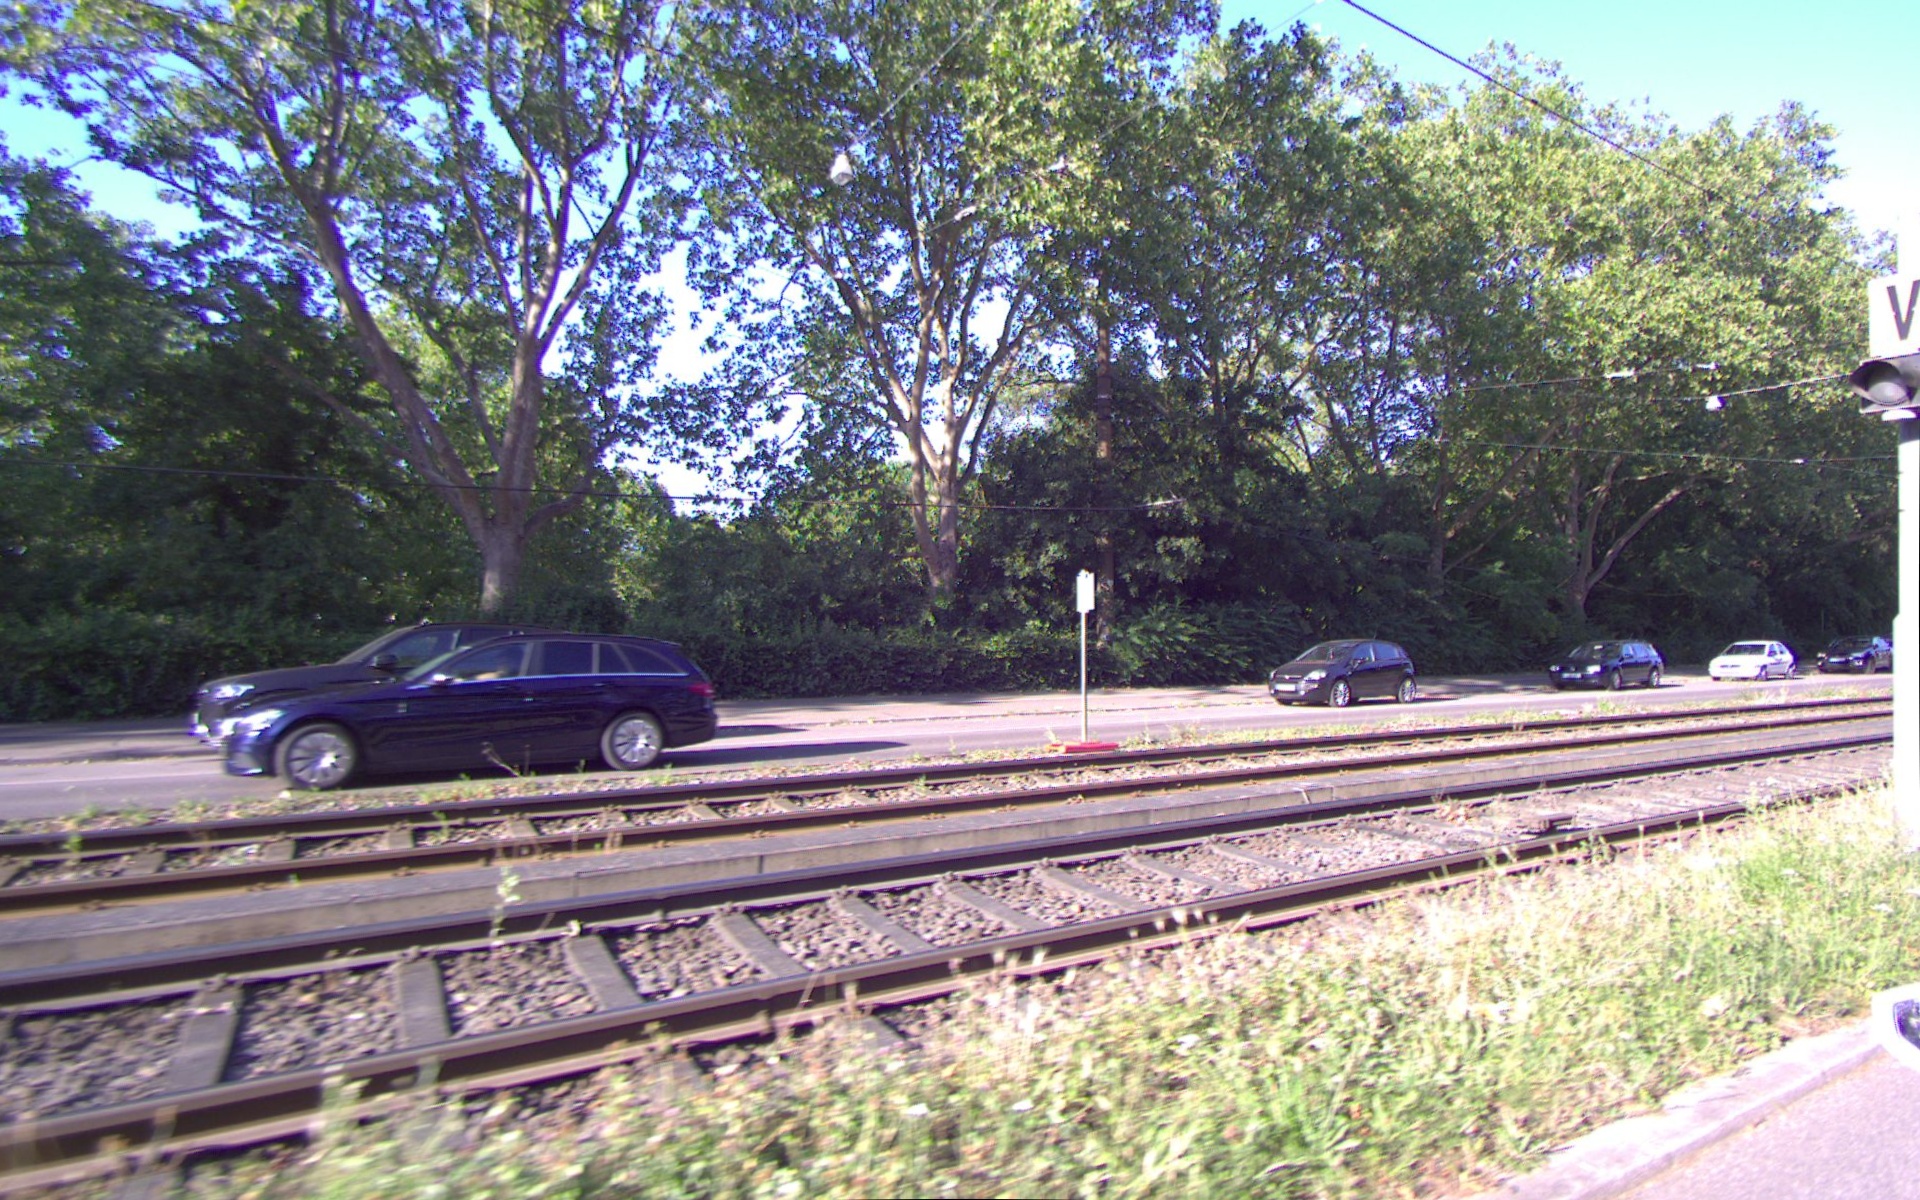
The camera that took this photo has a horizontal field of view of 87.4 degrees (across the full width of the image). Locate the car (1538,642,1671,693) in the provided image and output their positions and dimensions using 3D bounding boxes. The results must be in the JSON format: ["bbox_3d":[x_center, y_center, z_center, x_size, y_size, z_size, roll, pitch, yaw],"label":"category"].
[{"bbox_3d":[19.632,2.010,30.565,4.278,1.455,1.817,2,-3,-33],"label":"car"}]

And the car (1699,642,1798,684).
[{"bbox_3d":[28.913,2.278,36.822,3.811,1.455,1.729,2,-3,-33],"label":"car"}]

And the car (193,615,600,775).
[{"bbox_3d":[-7.154,1.141,13.014,4.355,1.741,1.814,2,-4,-38],"label":"car"}]

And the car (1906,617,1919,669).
[{"bbox_3d":[50.257,2.170,50.765,5.986,2.553,2.171,2,-3,-33],"label":"car"}]

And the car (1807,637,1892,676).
[{"bbox_3d":[37.997,2.400,42.887,3.841,1.575,1.729,2,-3,-33],"label":"car"}]

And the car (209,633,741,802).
[{"bbox_3d":[-4.892,1.109,10.627,4.698,1.433,1.910,2,-4,-33],"label":"car"}]

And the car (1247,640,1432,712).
[{"bbox_3d":[8.832,1.705,23.278,4.348,1.525,1.817,2,-3,-33],"label":"car"}]

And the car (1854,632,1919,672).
[{"bbox_3d":[43.158,2.408,46.467,3.841,1.750,1.729,2,-3,-33],"label":"car"}]
